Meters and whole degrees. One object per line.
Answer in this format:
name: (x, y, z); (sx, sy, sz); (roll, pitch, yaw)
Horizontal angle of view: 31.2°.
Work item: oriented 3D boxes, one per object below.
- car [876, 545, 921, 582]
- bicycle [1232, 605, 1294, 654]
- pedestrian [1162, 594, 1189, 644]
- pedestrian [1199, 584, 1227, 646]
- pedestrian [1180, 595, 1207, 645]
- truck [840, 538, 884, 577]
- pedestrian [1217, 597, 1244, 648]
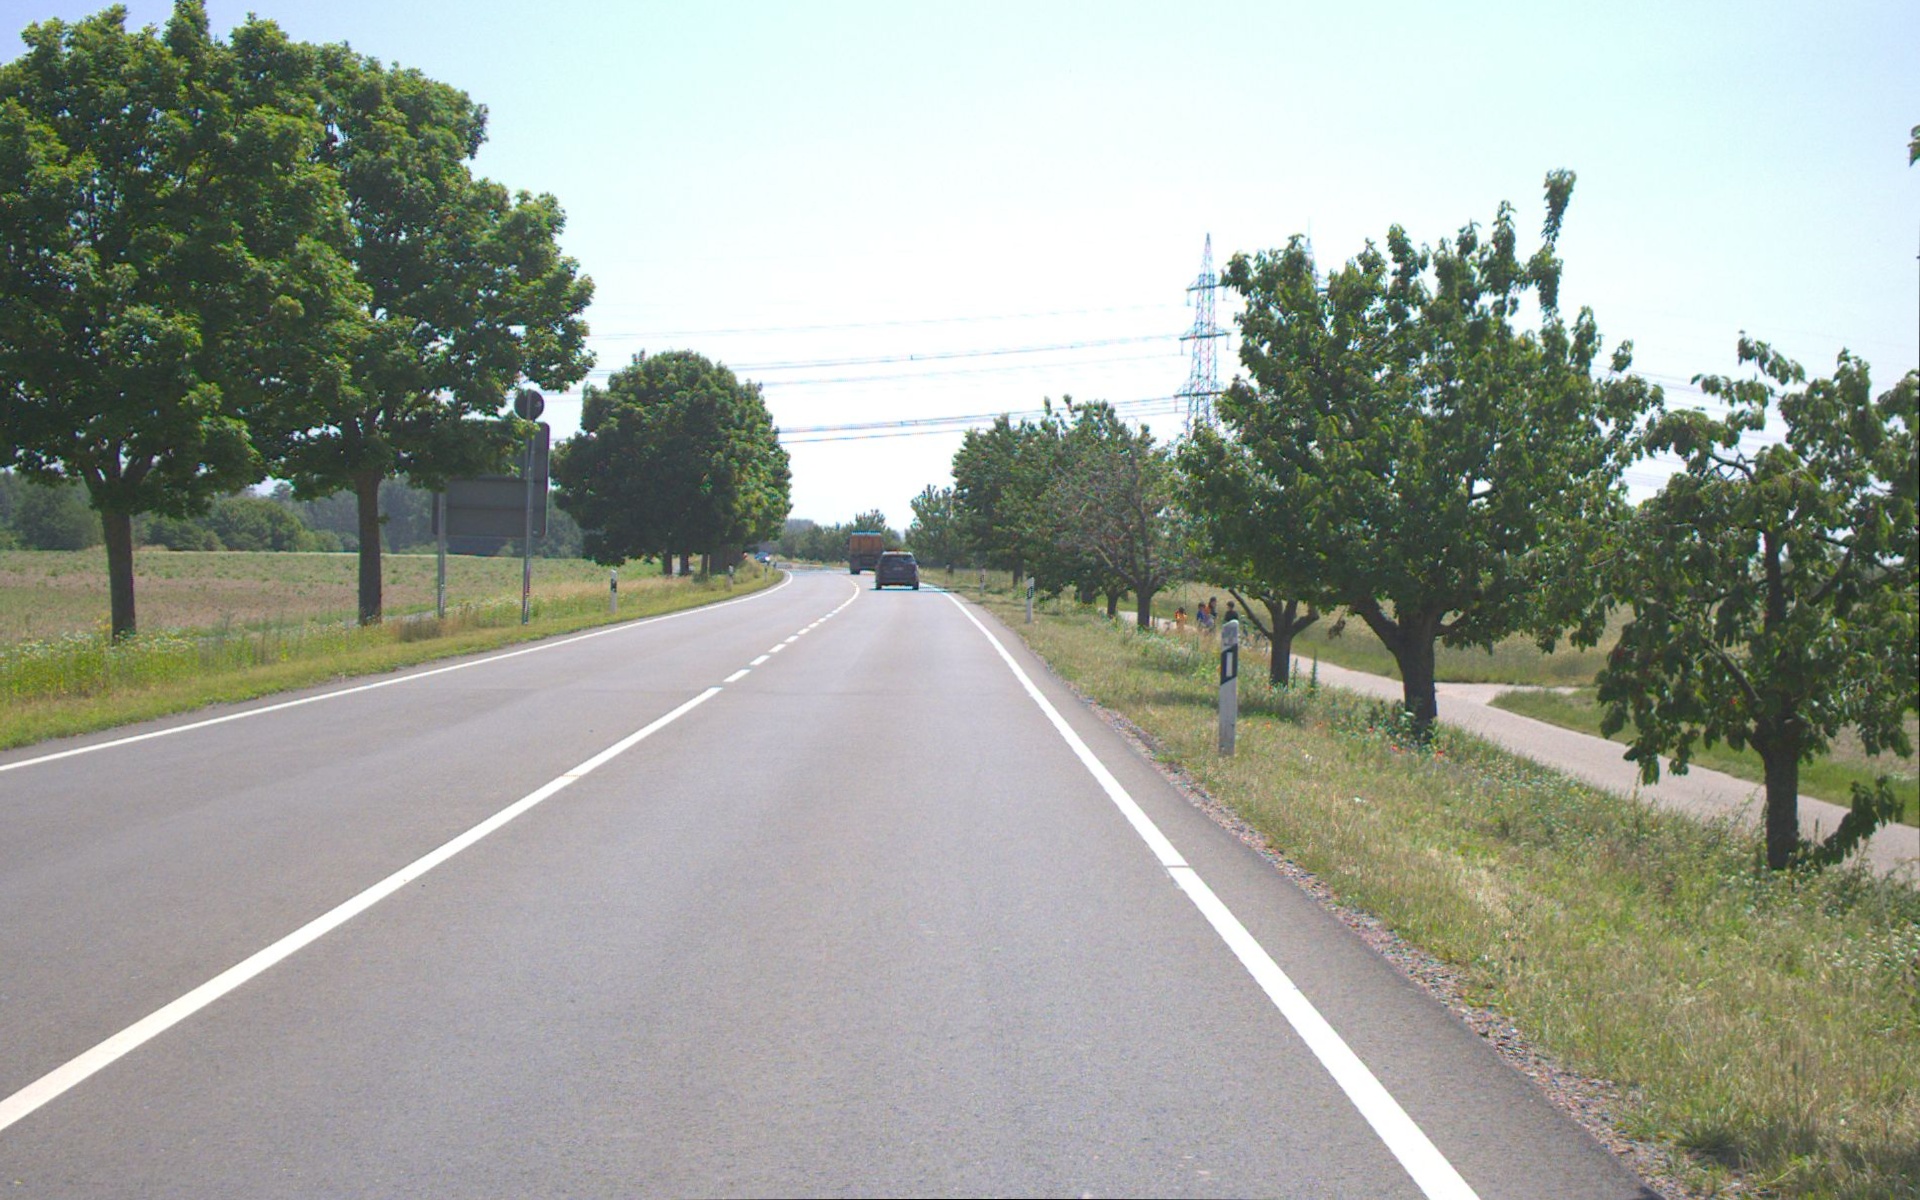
car: (-2.714, -1.626, 151.969); (1.884, 1.513, 4.040); (4, 1, -1)
bicycle: (8.208, 0.793, 93.234); (1.218, 1.161, 2.436); (4, 1, -5)
pedestrian: (6.061, 0.533, 96.609); (0.555, 1.366, 0.604); (4, 1, -9)
pedestrian: (7.169, 0.419, 97.511); (0.555, 1.715, 0.604); (4, 1, -8)
pedestrian: (6.599, 0.561, 97.062); (0.555, 1.366, 0.604); (4, 1, -9)
truck: (-7.444, -3.283, 262.518); (3.172, 2.851, 9.514); (1, 1, -1)
pedestrian: (7.608, 0.634, 96.730); (0.555, 1.366, 0.604); (4, 1, -9)
